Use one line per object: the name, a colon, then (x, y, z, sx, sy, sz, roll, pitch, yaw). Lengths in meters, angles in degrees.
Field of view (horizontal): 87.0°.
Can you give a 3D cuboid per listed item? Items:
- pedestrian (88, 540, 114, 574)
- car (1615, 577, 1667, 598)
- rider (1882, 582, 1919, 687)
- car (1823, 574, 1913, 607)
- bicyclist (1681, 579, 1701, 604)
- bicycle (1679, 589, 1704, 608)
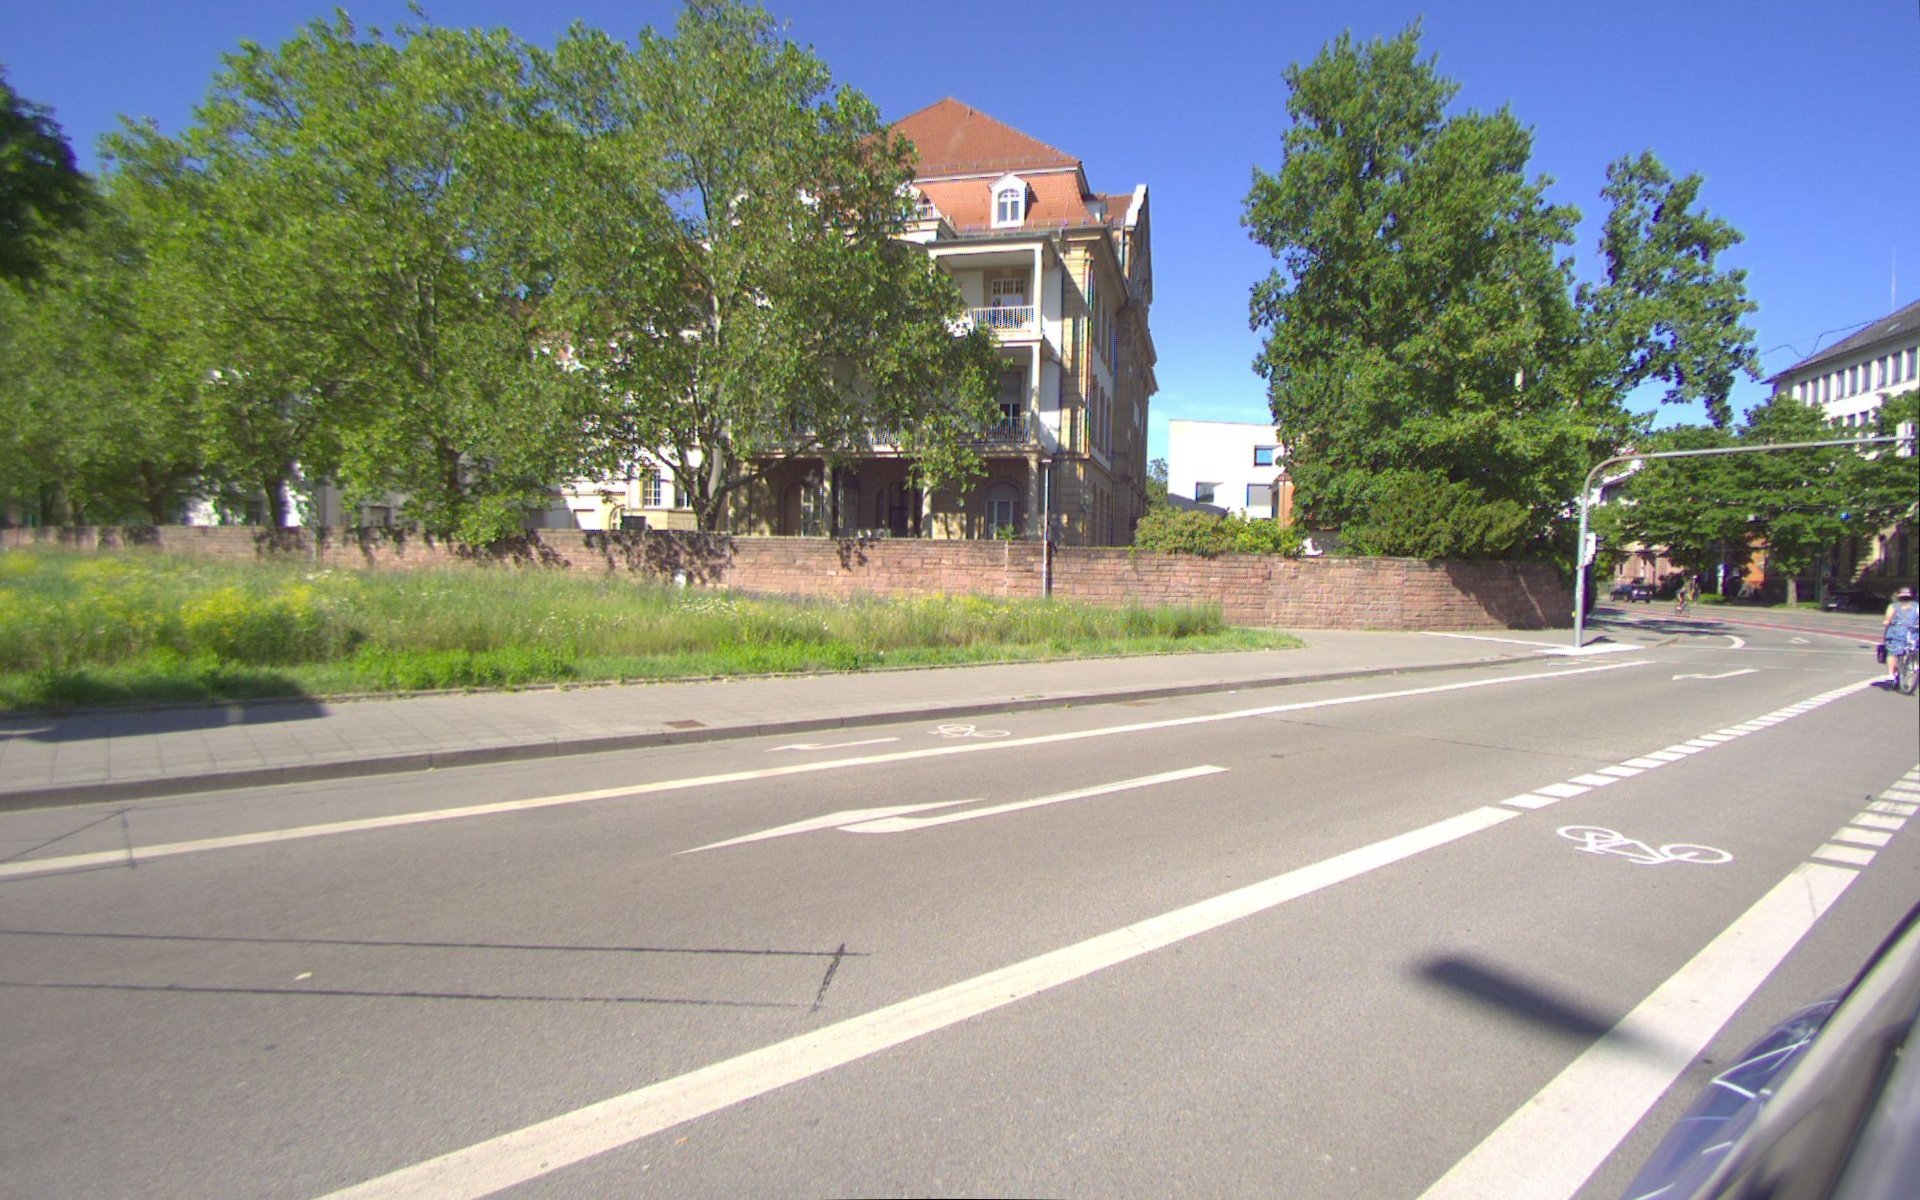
pedestrian: (-37.618, -1.894, 44.329, 0.516, 1.461, 0.721, 0, 0, 20)
car: (56.234, -1.076, 83.650, 1.766, 1.517, 4.563, 2, 3, 11)
rider: (15.431, 0.539, 16.355, 0.971, 1.640, 0.658, 0, 1, -41)
car: (61.206, -0.644, 68.244, 4.615, 2.038, 2.004, 1, 2, -9)
bicyclist: (39.598, -0.442, 54.843, 0.764, 1.333, 0.711, 0, 1, -41)
bicycle: (39.709, -0.090, 54.950, 1.723, 1.018, 0.711, 0, 1, -41)
